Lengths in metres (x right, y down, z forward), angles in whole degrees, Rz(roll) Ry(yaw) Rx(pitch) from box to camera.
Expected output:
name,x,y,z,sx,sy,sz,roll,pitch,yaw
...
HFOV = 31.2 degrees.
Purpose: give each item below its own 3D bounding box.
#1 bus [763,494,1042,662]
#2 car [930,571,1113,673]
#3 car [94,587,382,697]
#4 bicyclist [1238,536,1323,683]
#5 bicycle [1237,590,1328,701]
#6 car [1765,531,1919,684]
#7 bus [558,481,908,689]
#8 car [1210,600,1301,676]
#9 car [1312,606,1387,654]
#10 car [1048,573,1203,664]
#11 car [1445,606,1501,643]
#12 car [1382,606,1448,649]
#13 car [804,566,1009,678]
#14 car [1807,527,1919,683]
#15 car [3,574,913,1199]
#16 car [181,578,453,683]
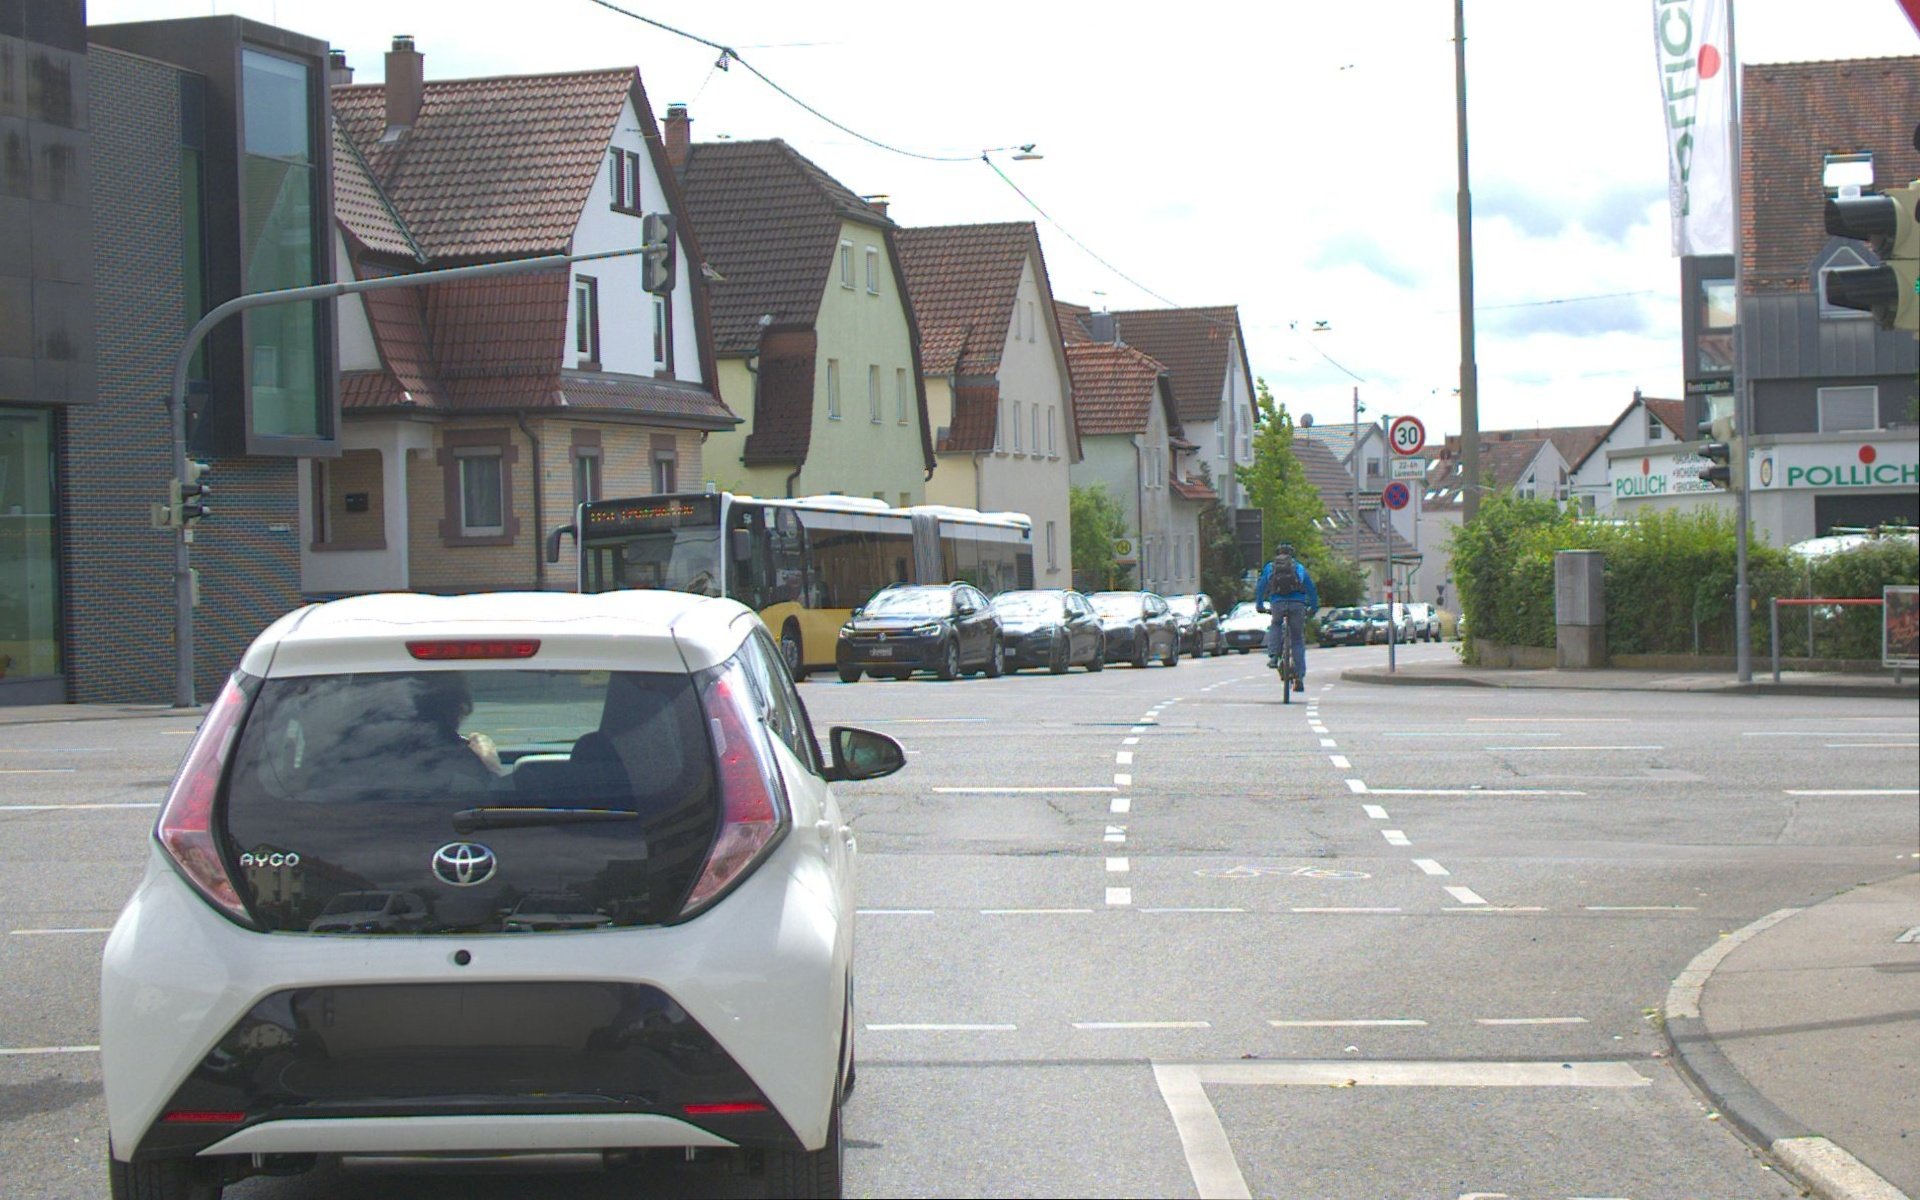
name,x,y,z,sx,sy,sz,roll,pitch,yaw
bus,-0.909,-0.426,64.229,2.780,2.905,9.184,0,1,15
car,1.080,0.333,57.621,1.995,1.634,4.180,0,1,17
car,-11.449,0.643,54.606,3.989,1.634,1.999,1,1,13
bicyclist,3.561,0.093,38.263,0.840,1.609,1.083,-1,1,0
bicycle,3.563,0.485,38.177,0.832,1.160,2.192,0,1,1
car,13.192,0.083,46.565,3.986,2.007,2.000,0,0,-8
bus,-3.441,-0.274,55.218,2.780,3.050,9.184,0,1,15
car,8.221,1.032,95.516,1.995,2.007,3.998,0,1,13
car,14.049,1.062,123.834,1.995,1.634,3.997,0,1,17
car,3.150,0.325,64.642,1.995,1.634,3.997,0,1,17
car,23.813,1.136,159.483,1.995,1.634,3.997,0,1,17
car,18.317,1.096,138.374,1.995,1.634,3.997,0,1,17
car,-0.775,0.303,52.470,1.995,1.634,3.997,0,1,17
car,13.131,0.057,43.963,3.986,1.941,2.000,0,0,-9
car,-1.062,0.679,8.860,1.738,1.455,3.532,-1,1,1
car,-10.725,0.500,57.423,3.989,1.678,1.999,-1,0,13
